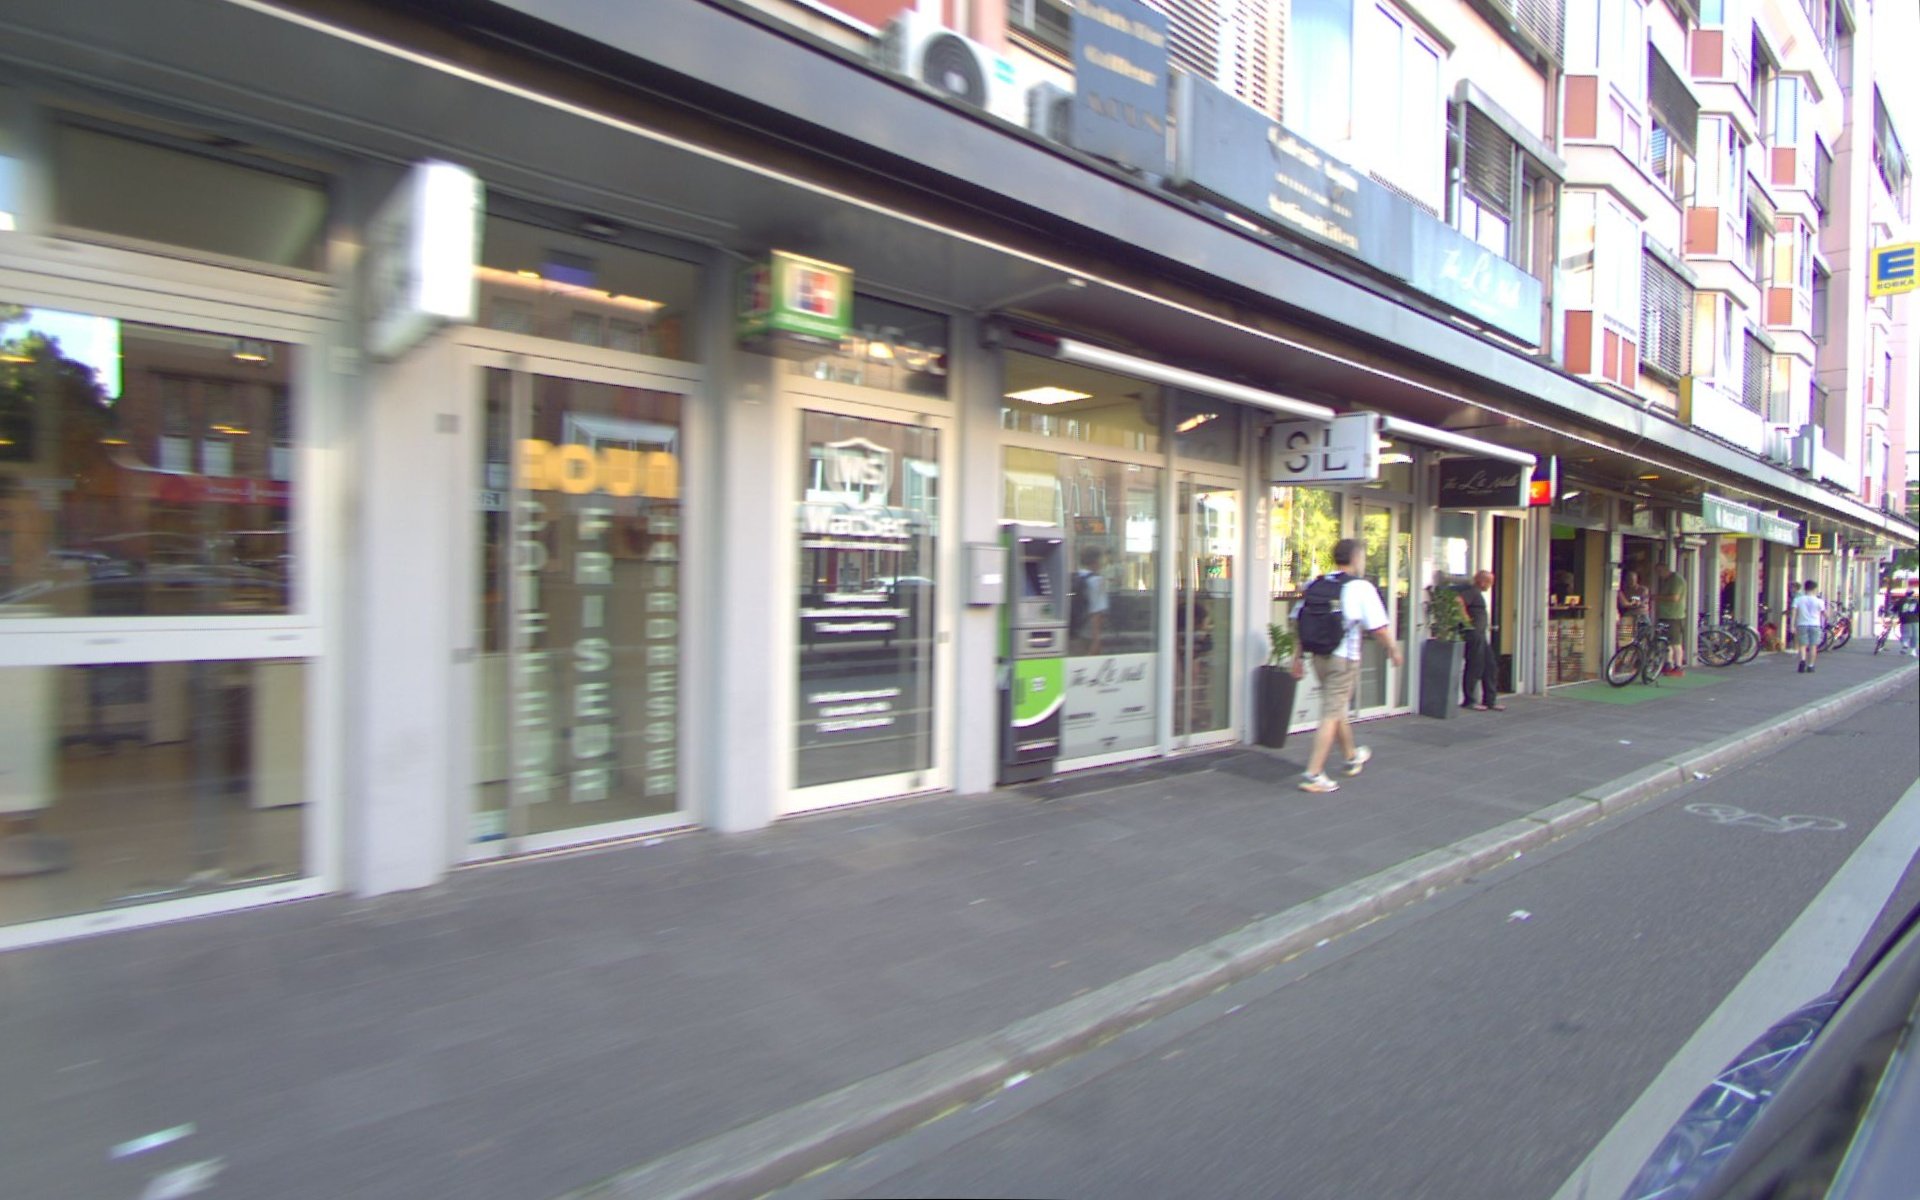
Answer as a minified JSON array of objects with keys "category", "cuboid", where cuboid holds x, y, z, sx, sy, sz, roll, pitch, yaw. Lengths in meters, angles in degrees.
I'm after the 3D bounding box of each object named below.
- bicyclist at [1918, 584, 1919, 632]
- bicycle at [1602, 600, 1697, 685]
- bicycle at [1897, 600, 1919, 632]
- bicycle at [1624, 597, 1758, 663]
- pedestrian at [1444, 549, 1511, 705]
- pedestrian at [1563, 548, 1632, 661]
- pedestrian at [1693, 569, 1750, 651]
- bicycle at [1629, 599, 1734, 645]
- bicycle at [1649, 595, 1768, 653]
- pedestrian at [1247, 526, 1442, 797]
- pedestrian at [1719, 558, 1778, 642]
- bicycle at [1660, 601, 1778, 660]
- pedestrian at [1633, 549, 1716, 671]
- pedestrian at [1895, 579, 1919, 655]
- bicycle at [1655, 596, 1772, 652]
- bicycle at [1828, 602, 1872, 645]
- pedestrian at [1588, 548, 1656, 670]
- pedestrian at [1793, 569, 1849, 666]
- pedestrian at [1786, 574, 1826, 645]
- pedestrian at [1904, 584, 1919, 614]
[{"category":"bicyclist","cuboid":[34.502,0.289,35.959,0.635,1.699,0.756,1,1,45]},{"category":"bicycle","cuboid":[10.005,0.578,14.658,1.764,1.079,0.659,-1,6,-42]},{"category":"bicycle","cuboid":[34.666,0.588,35.799,0.756,1.138,2.171,-1,2,-45]},{"category":"bicycle","cuboid":[13.759,0.538,19.097,0.566,1.073,1.928,0,3,-41]},{"category":"pedestrian","cuboid":[5.806,0.283,11.359,0.540,1.694,0.462,3,2,40]},{"category":"pedestrian","cuboid":[10.990,0.058,17.474,0.769,1.889,0.684,2,2,18]},{"category":"pedestrian","cuboid":[16.312,0.184,21.681,0.902,1.684,0.778,-1,3,-44]},{"category":"bicycle","cuboid":[17.165,0.515,24.112,0.567,0.950,1.926,0,3,-43]},{"category":"bicycle","cuboid":[15.810,0.488,21.427,0.567,1.073,1.926,0,3,-43]},{"category":"pedestrian","cuboid":[2.720,0.371,7.162,1.042,1.743,0.800,-1,5,-40]},{"category":"pedestrian","cuboid":[17.664,-0.001,22.686,0.721,1.839,0.804,1,0,11]},{"category":"bicycle","cuboid":[14.863,0.571,19.863,0.496,0.985,1.737,0,4,-36]},{"category":"pedestrian","cuboid":[11.620,0.133,16.463,0.767,1.889,0.915,-1,3,-44]},{"category":"pedestrian","cuboid":[23.283,0.406,24.565,0.721,1.839,0.805,0,1,-45]},{"category":"bicycle","cuboid":[16.268,0.499,21.888,0.567,1.073,1.926,0,3,-43]},{"category":"bicycle","cuboid":[23.190,0.599,26.356,1.813,0.988,0.677,-1,6,-45]},{"category":"pedestrian","cuboid":[10.603,0.118,16.243,0.772,1.889,0.680,3,3,29]},{"category":"pedestrian","cuboid":[15.682,0.297,18.434,0.758,1.694,0.633,-1,2,-41]},{"category":"pedestrian","cuboid":[19.637,0.223,23.494,0.451,1.614,0.409,2,3,-14]},{"category":"pedestrian","cuboid":[64.018,-0.068,67.922,0.742,2.039,1.057,-2,-1,35]}]
